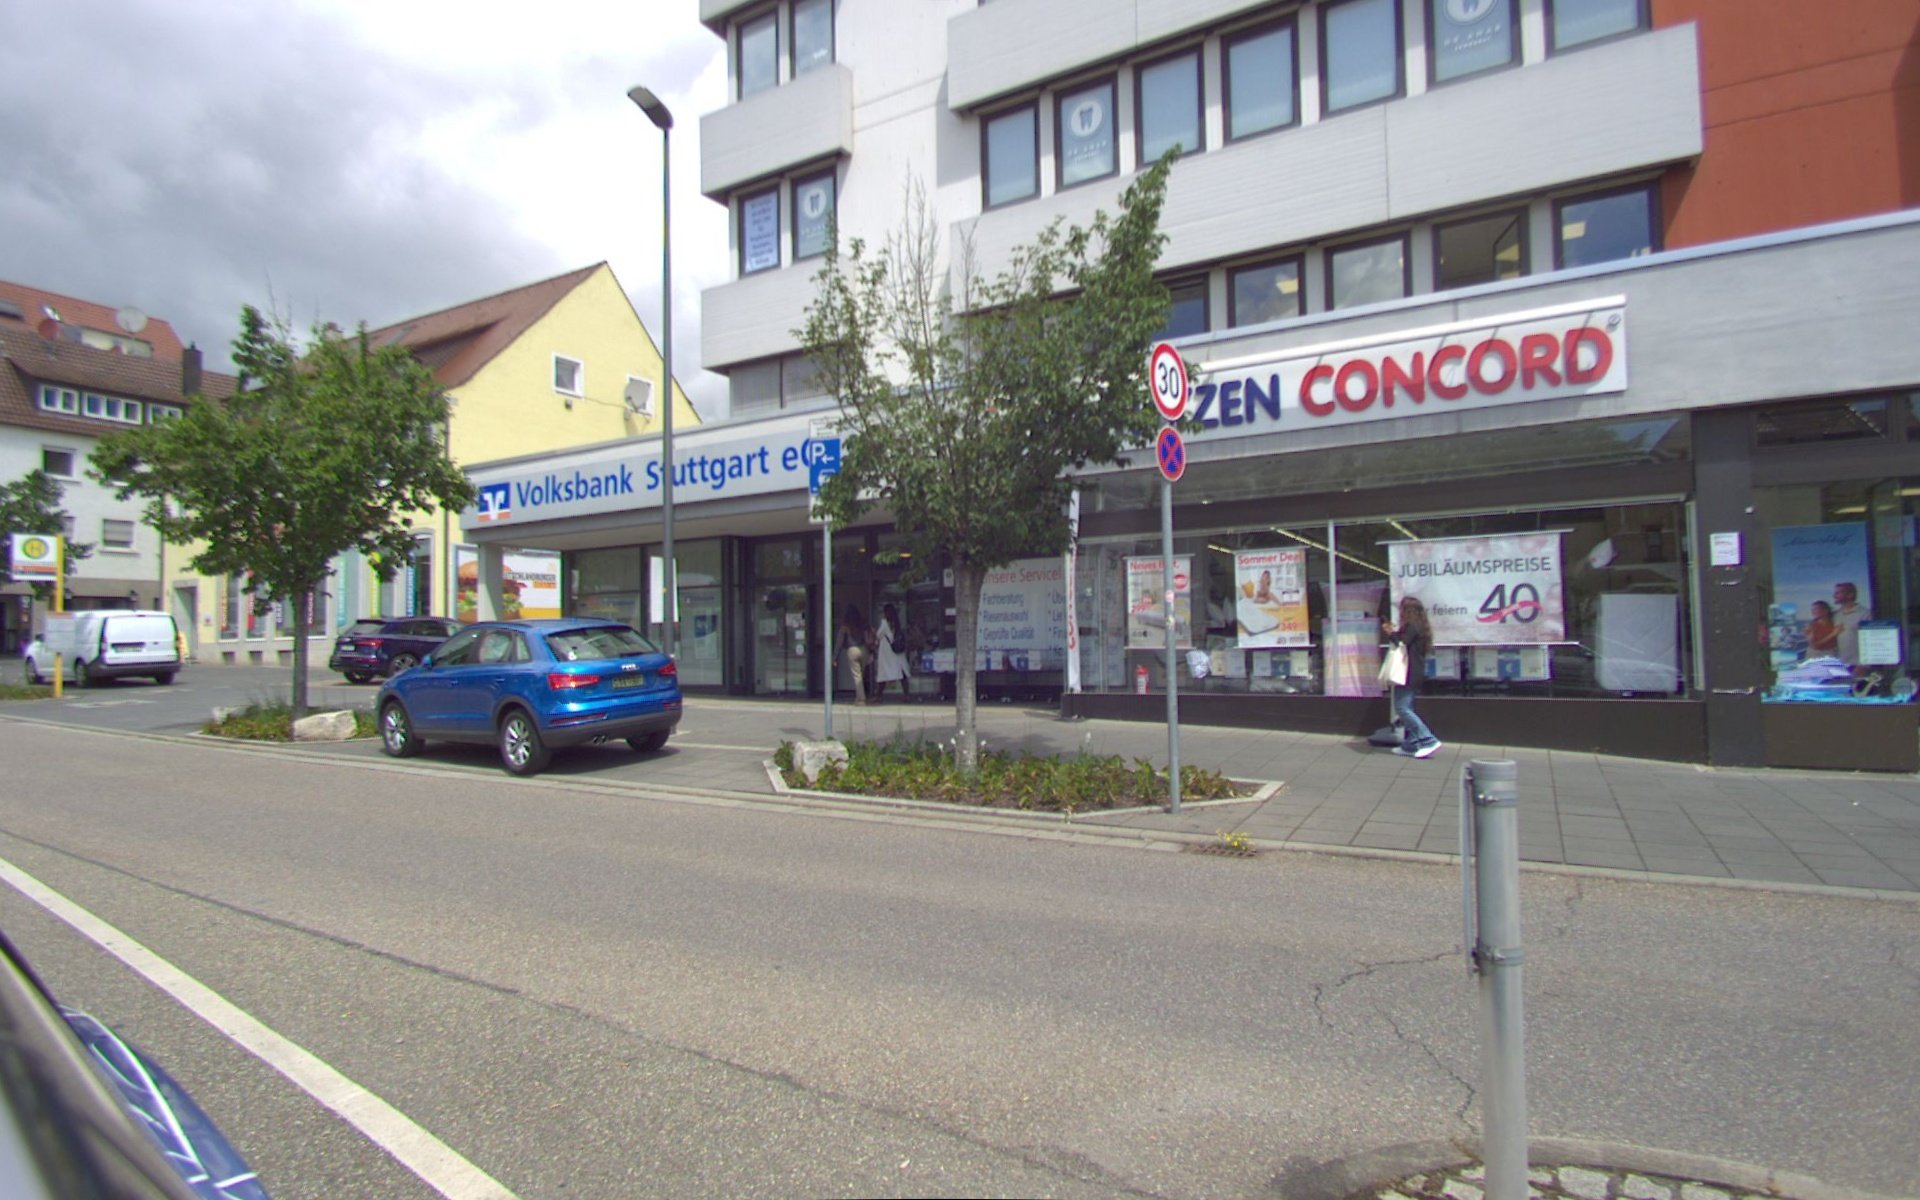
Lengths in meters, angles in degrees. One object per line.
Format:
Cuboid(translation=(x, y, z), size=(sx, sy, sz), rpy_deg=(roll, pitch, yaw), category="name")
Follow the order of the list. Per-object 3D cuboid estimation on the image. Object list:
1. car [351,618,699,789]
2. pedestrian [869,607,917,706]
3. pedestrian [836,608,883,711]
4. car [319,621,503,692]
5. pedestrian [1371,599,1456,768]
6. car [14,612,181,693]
Cuboid(translation=(-5.169, 1.064, 11.821), size=(4.321, 1.611, 1.680), rpy_deg=(-1, 0, 35), category="car")
Cuboid(translation=(-1.088, 0.916, 16.539), size=(0.585, 1.578, 0.506), rpy_deg=(-2, -4, 33), category="pedestrian")
Cuboid(translation=(-1.570, 0.934, 15.878), size=(0.636, 1.578, 0.586), rpy_deg=(0, -3, 3), category="pedestrian")
Cuboid(translation=(-13.212, 1.296, 24.531), size=(1.662, 1.570, 3.602), rpy_deg=(-1, -1, 30), category="car")
Cuboid(translation=(4.475, 0.795, 9.989), size=(0.637, 1.600, 0.581), rpy_deg=(-1, -1, 37), category="pedestrian")
Cuboid(translation=(-21.199, 1.225, 24.844), size=(4.458, 1.827, 1.744), rpy_deg=(-1, -1, 30), category="car")
